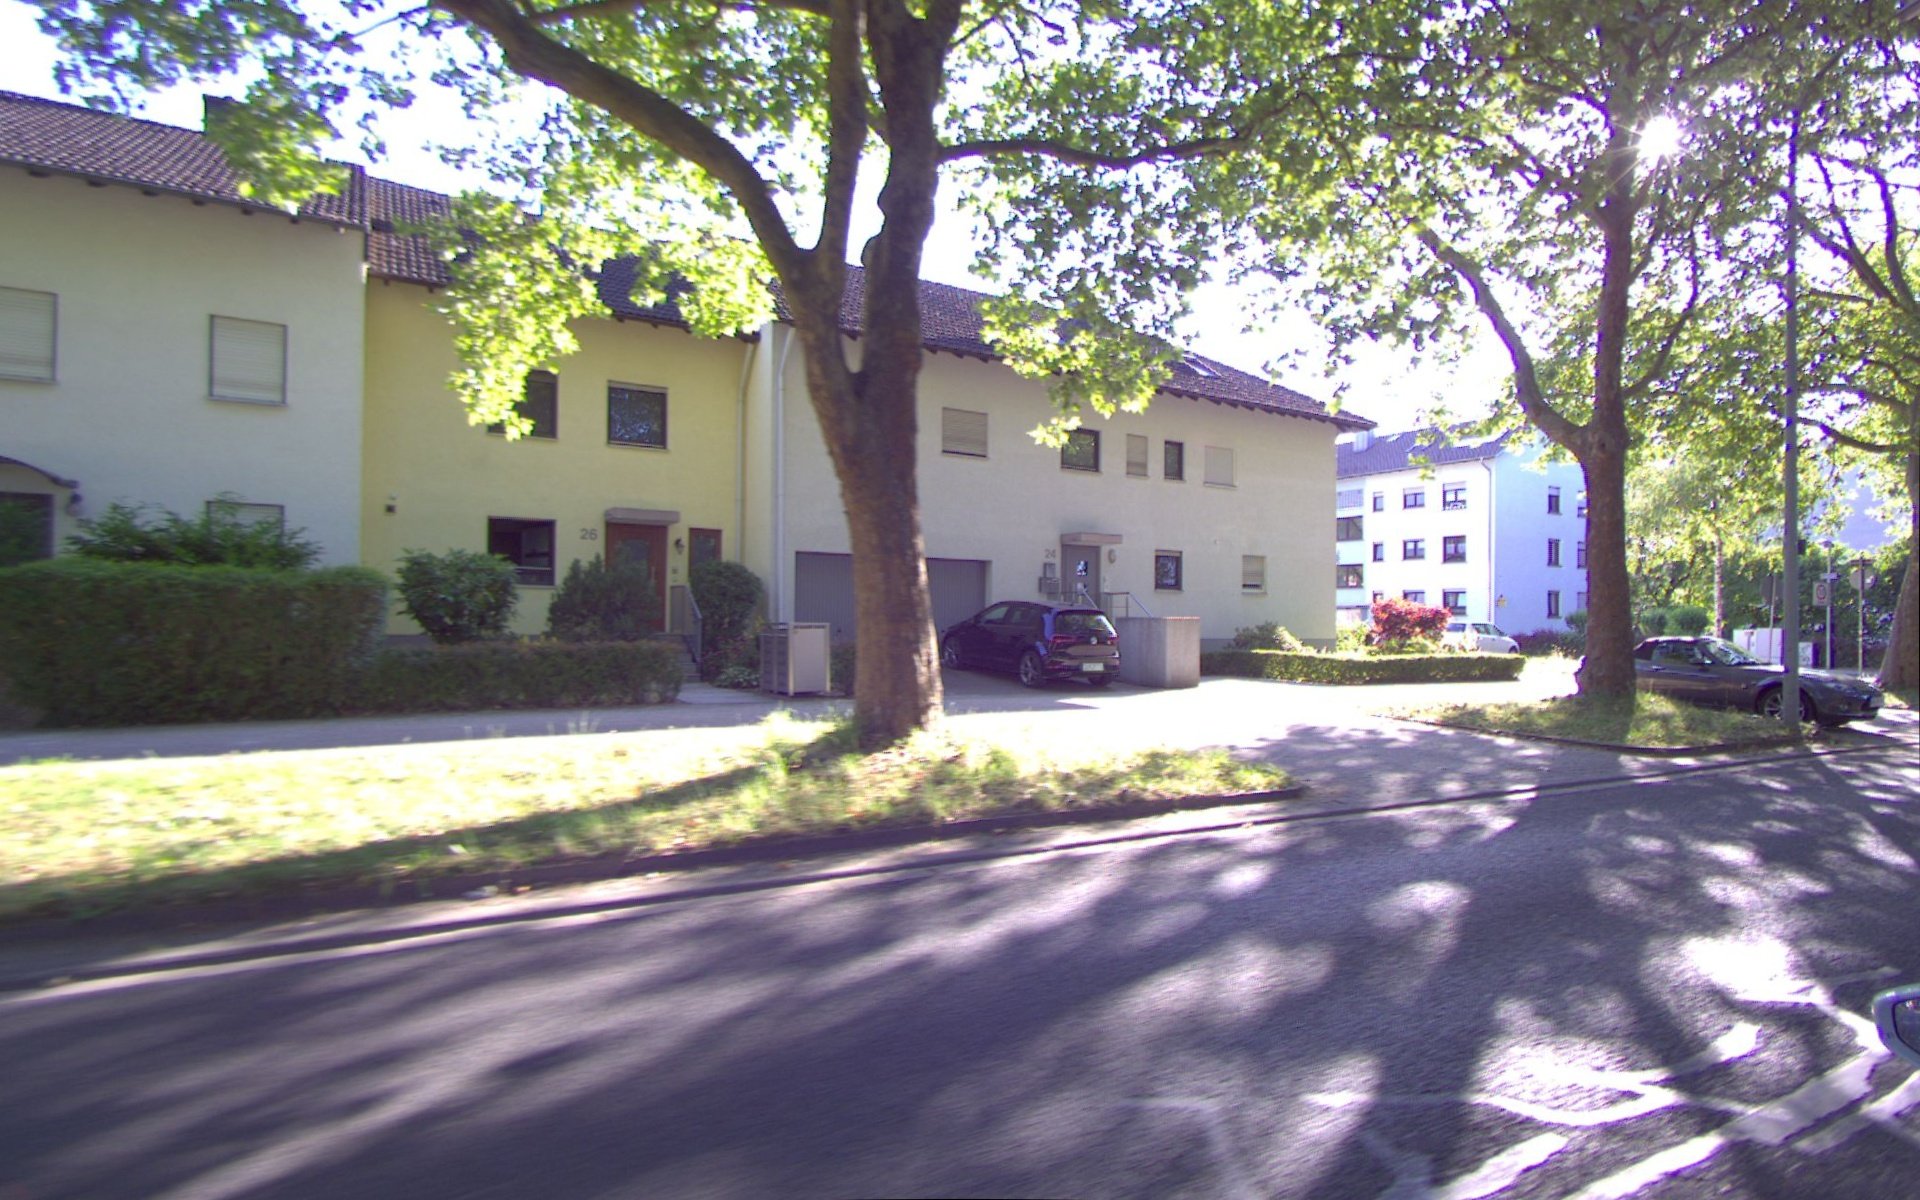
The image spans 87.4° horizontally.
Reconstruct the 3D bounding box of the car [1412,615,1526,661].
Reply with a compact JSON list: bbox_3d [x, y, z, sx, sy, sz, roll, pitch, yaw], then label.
[{"bbox_3d":[18.736,1.382,36.948,3.955,1.595,1.983,2,-1,-32],"label":"car"}]

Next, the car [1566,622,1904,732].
[{"bbox_3d":[11.945,1.104,15.747,1.769,1.334,3.807,1,1,-30],"label":"car"}]

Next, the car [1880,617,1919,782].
[{"bbox_3d":[10.880,0.973,9.750,3.791,1.532,1.776,1,0,-29],"label":"car"}]

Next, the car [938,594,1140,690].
[{"bbox_3d":[1.353,0.706,18.800,1.878,1.484,3.969,1,1,-29],"label":"car"}]
